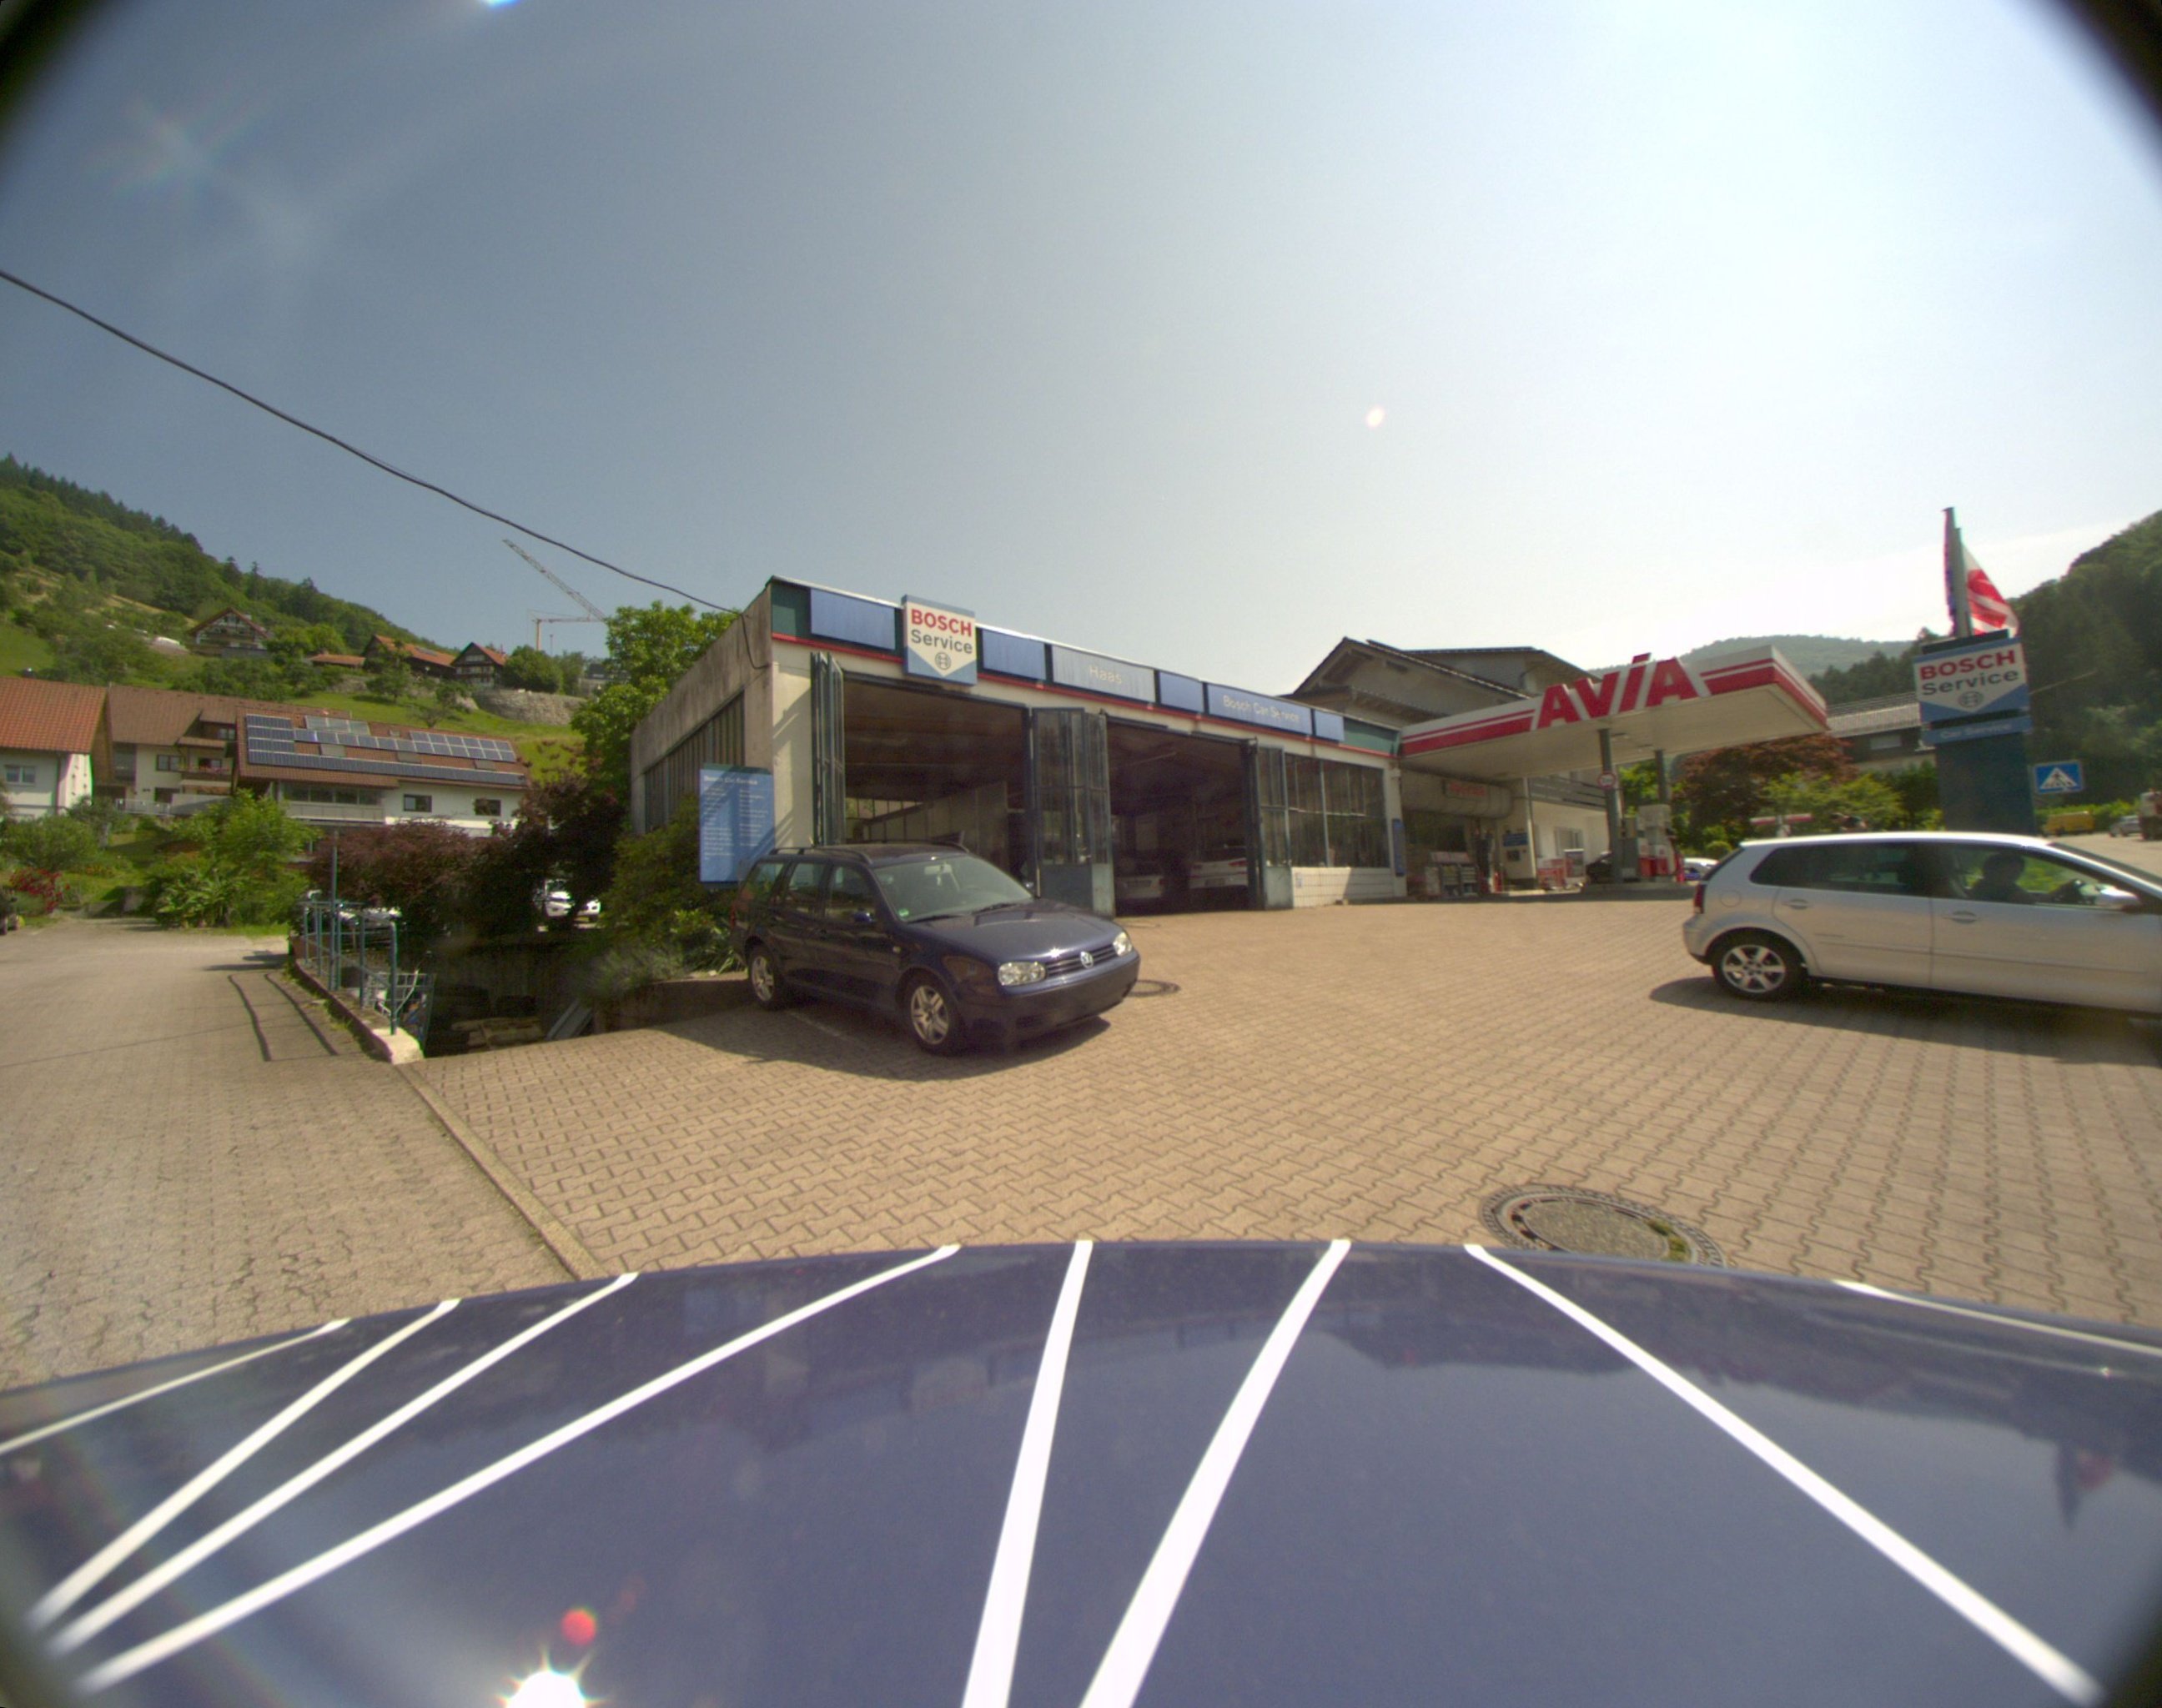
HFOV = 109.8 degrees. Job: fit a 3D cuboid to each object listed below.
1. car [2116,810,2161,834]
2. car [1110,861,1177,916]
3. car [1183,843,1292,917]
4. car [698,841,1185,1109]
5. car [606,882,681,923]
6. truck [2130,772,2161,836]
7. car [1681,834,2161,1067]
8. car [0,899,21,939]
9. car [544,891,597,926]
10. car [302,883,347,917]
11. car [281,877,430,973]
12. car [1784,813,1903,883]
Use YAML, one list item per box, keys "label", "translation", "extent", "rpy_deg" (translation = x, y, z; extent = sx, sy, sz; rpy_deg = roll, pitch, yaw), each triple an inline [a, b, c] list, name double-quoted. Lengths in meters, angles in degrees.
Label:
- label: "car"
  translation: [73.840, -2.220, 52.828]
  extent: [3.605, 1.565, 1.784]
  rpy_deg: [-3, 1, -44]
- label: "car"
  translation: [1.856, 1.018, 21.671]
  extent: [1.546, 1.397, 3.483]
  rpy_deg: [-3, -4, 9]
- label: "car"
  translation: [4.214, 0.611, 19.965]
  extent: [1.602, 1.678, 3.937]
  rpy_deg: [-2, 1, 30]
- label: "car"
  translation: [-1.446, 0.752, 6.600]
  extent: [4.319, 1.536, 1.803]
  rpy_deg: [-1, 2, 42]
- label: "car"
  translation: [-18.825, 2.045, 32.629]
  extent: [3.900, 1.546, 1.683]
  rpy_deg: [-2, 1, 44]
- label: "truck"
  translation: [64.663, -3.045, 44.903]
  extent: [7.787, 3.560, 2.646]
  rpy_deg: [-3, -1, -39]
- label: "car"
  translation: [7.244, 0.617, 5.914]
  extent: [1.598, 1.474, 3.747]
  rpy_deg: [-3, 2, -37]
- label: "car"
  translation: [-32.880, 1.943, 22.733]
  extent: [2.856, 1.057, 1.115]
  rpy_deg: [0, -2, 40]
- label: "car"
  translation: [-21.091, 2.203, 31.359]
  extent: [1.471, 1.251, 3.379]
  rpy_deg: [0, -1, -40]
- label: "car"
  translation: [-33.814, 2.014, 33.964]
  extent: [3.205, 1.362, 1.347]
  rpy_deg: [-2, 1, 45]
- label: "car"
  translation: [-15.673, 1.376, 16.314]
  extent: [4.864, 1.635, 2.004]
  rpy_deg: [-2, 1, 43]
- label: "car"
  translation: [19.081, -0.193, 18.974]
  extent: [3.918, 1.568, 1.693]
  rpy_deg: [-3, 1, -39]
